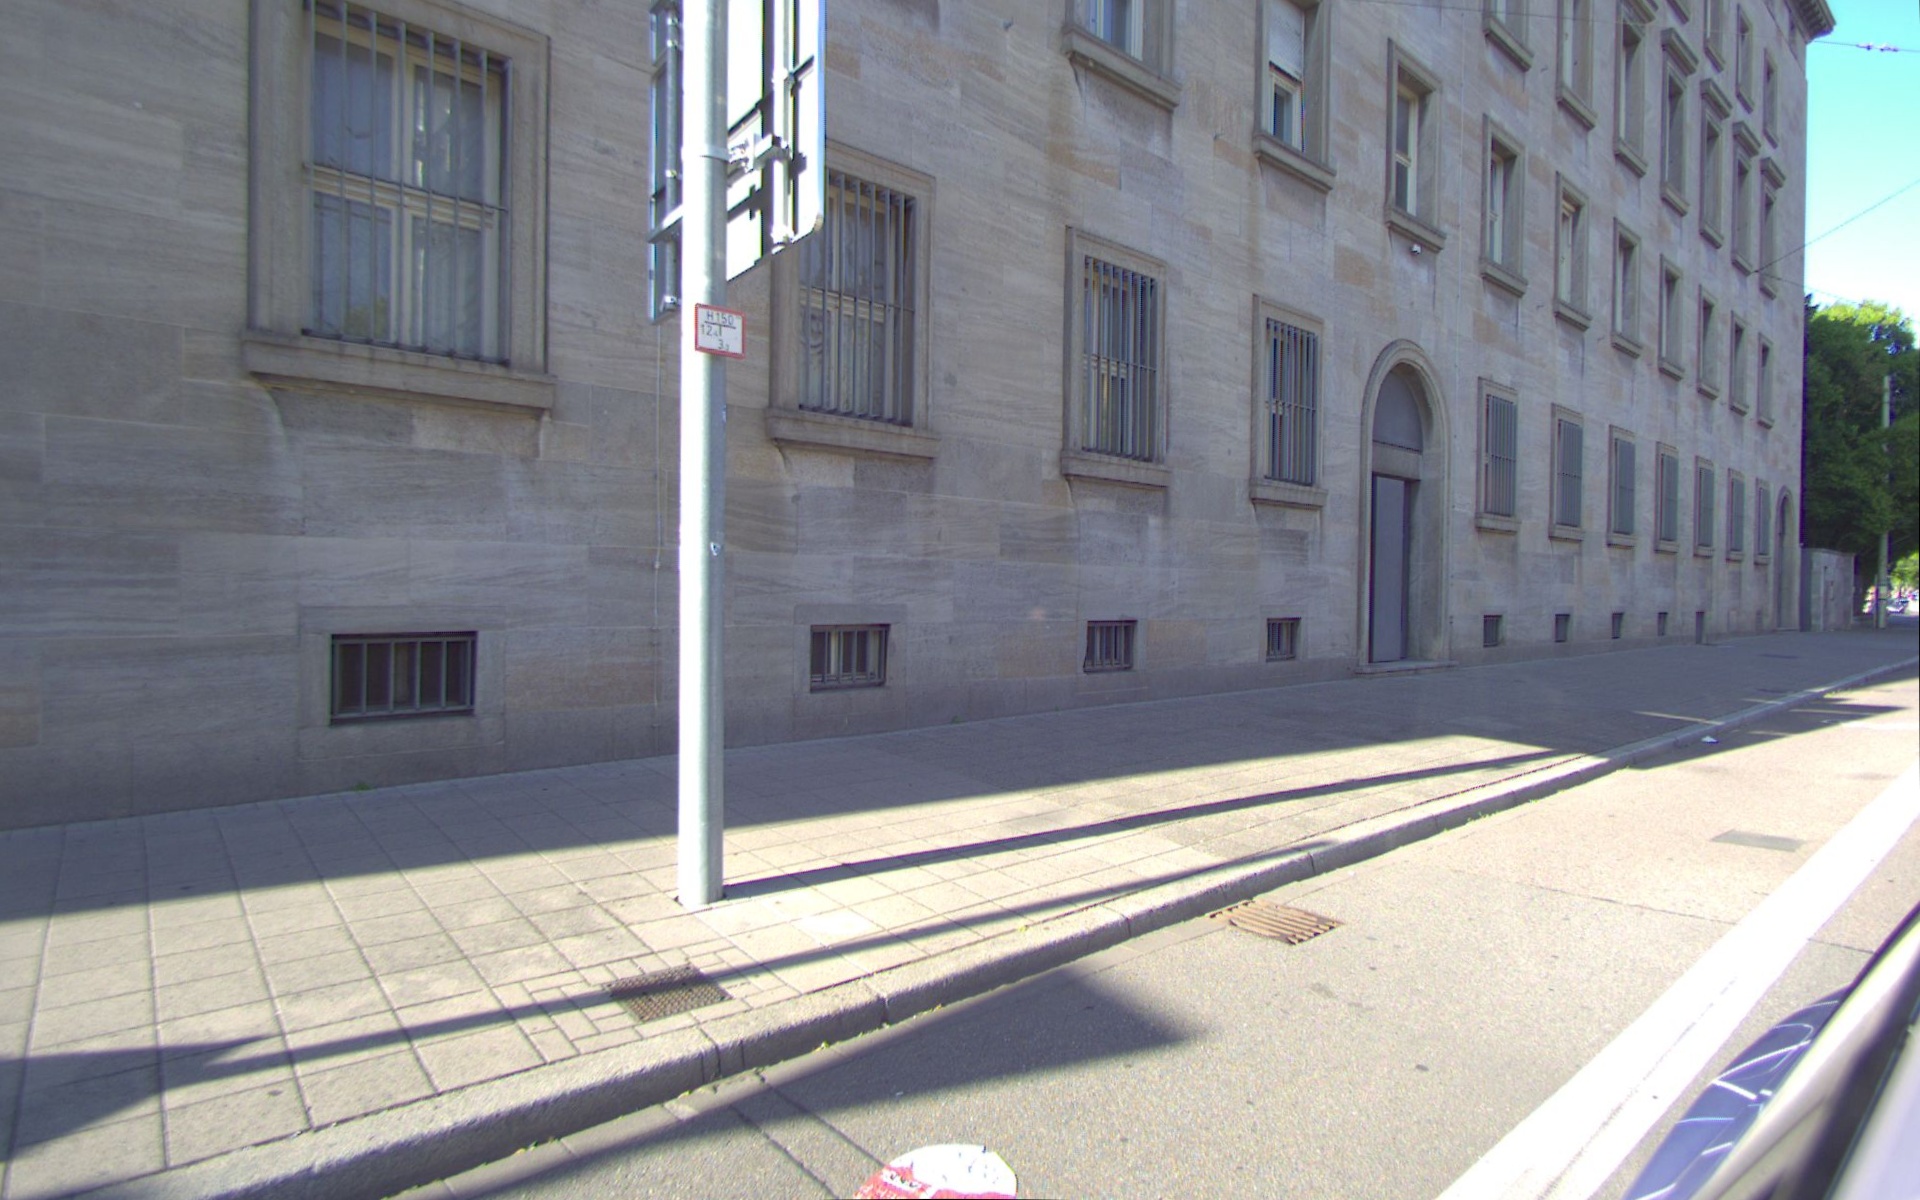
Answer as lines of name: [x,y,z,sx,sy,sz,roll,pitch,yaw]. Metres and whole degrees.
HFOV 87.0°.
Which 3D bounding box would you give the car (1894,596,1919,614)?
car: [101.323,0.514,108.131,1.991,1.794,3.943,2,1,39]
